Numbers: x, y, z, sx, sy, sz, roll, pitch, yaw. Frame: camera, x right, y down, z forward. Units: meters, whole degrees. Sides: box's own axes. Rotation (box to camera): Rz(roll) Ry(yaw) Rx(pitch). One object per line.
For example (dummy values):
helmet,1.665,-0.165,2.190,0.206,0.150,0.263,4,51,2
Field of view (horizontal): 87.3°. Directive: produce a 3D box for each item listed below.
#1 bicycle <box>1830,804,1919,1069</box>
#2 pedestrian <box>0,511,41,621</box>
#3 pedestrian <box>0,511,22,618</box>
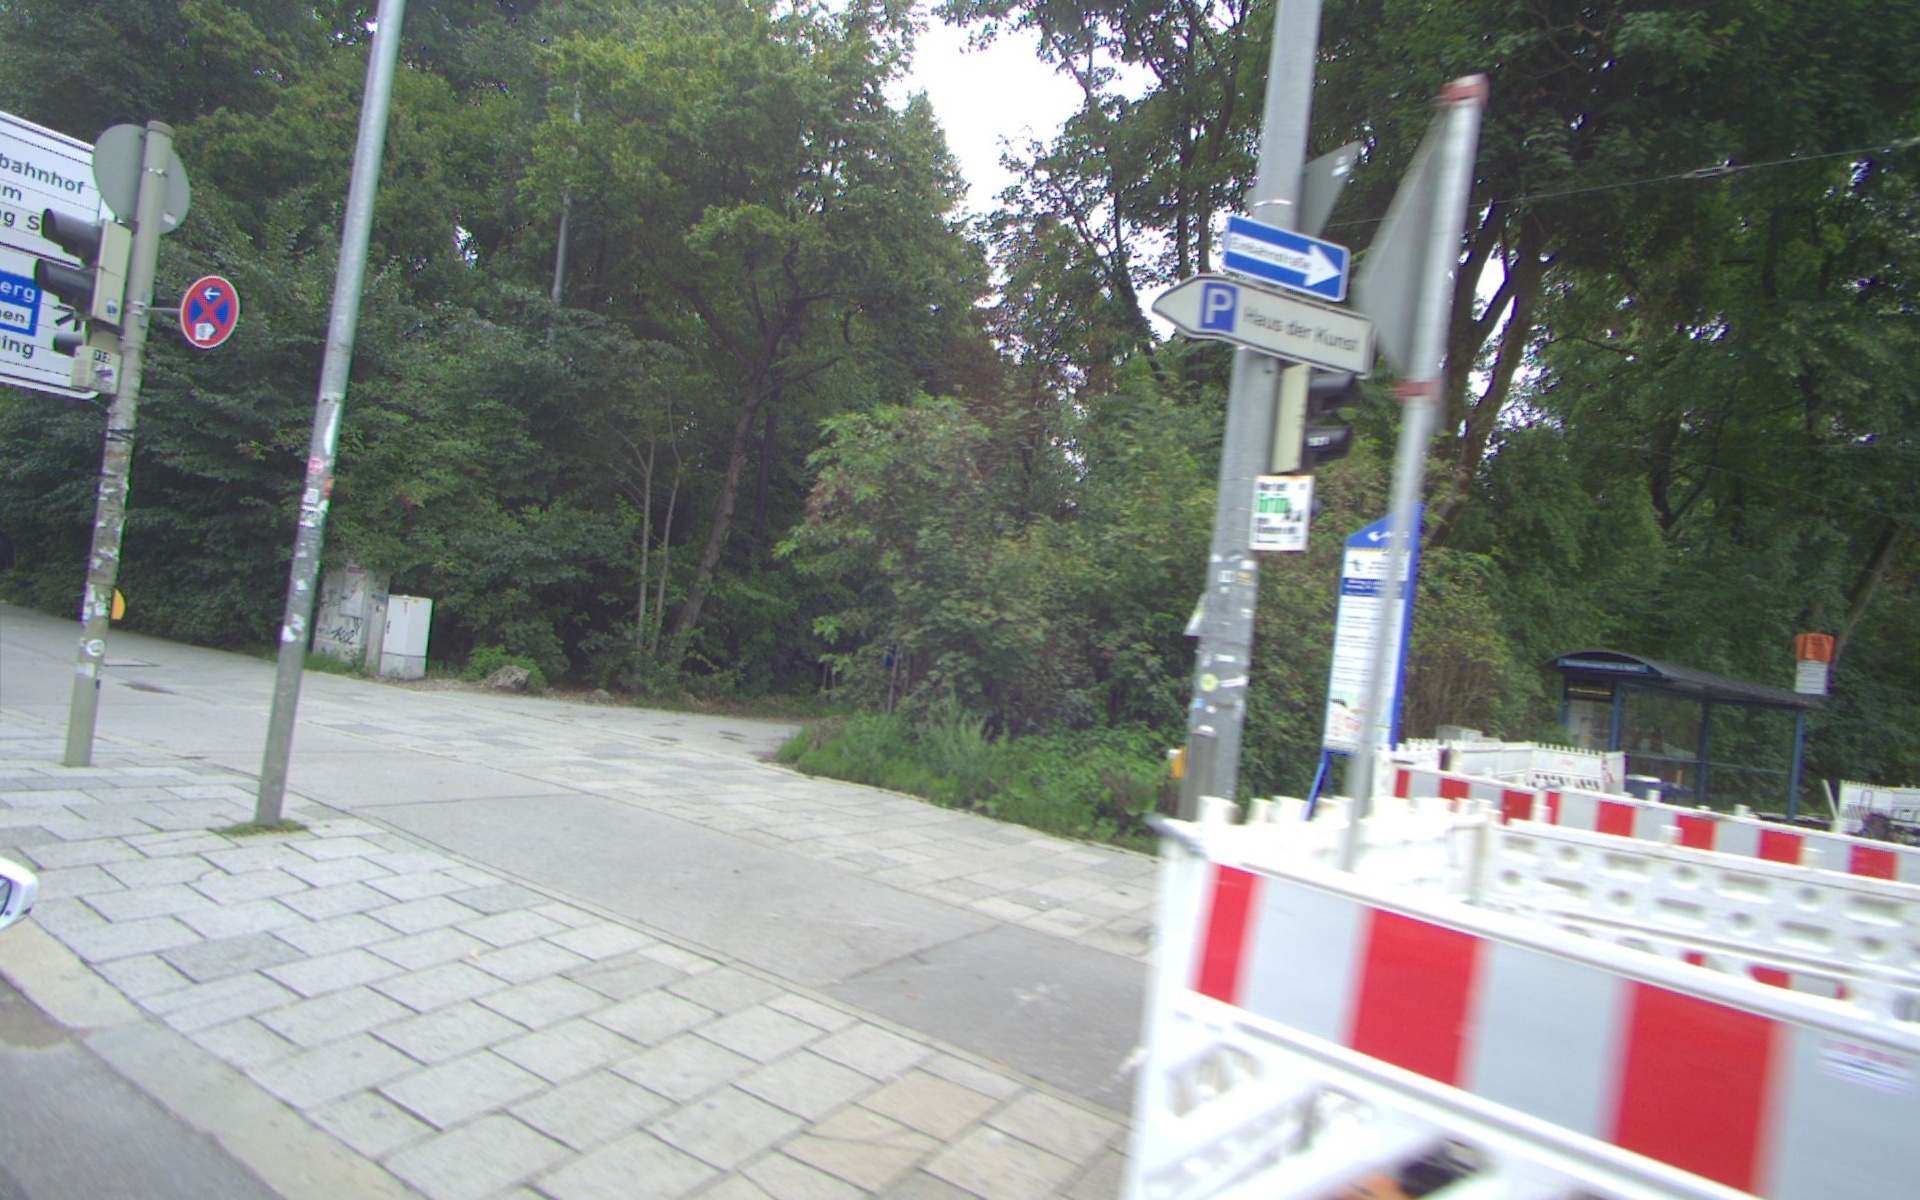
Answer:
bicycle,5.189,1.610,4.222,2.124,1.069,0.741,6,-3,25
pedestrian,-17.057,-0.627,17.816,0.744,1.858,0.753,6,-3,32
pedestrian,-17.106,-0.668,17.593,0.630,1.858,0.672,6,-3,32
